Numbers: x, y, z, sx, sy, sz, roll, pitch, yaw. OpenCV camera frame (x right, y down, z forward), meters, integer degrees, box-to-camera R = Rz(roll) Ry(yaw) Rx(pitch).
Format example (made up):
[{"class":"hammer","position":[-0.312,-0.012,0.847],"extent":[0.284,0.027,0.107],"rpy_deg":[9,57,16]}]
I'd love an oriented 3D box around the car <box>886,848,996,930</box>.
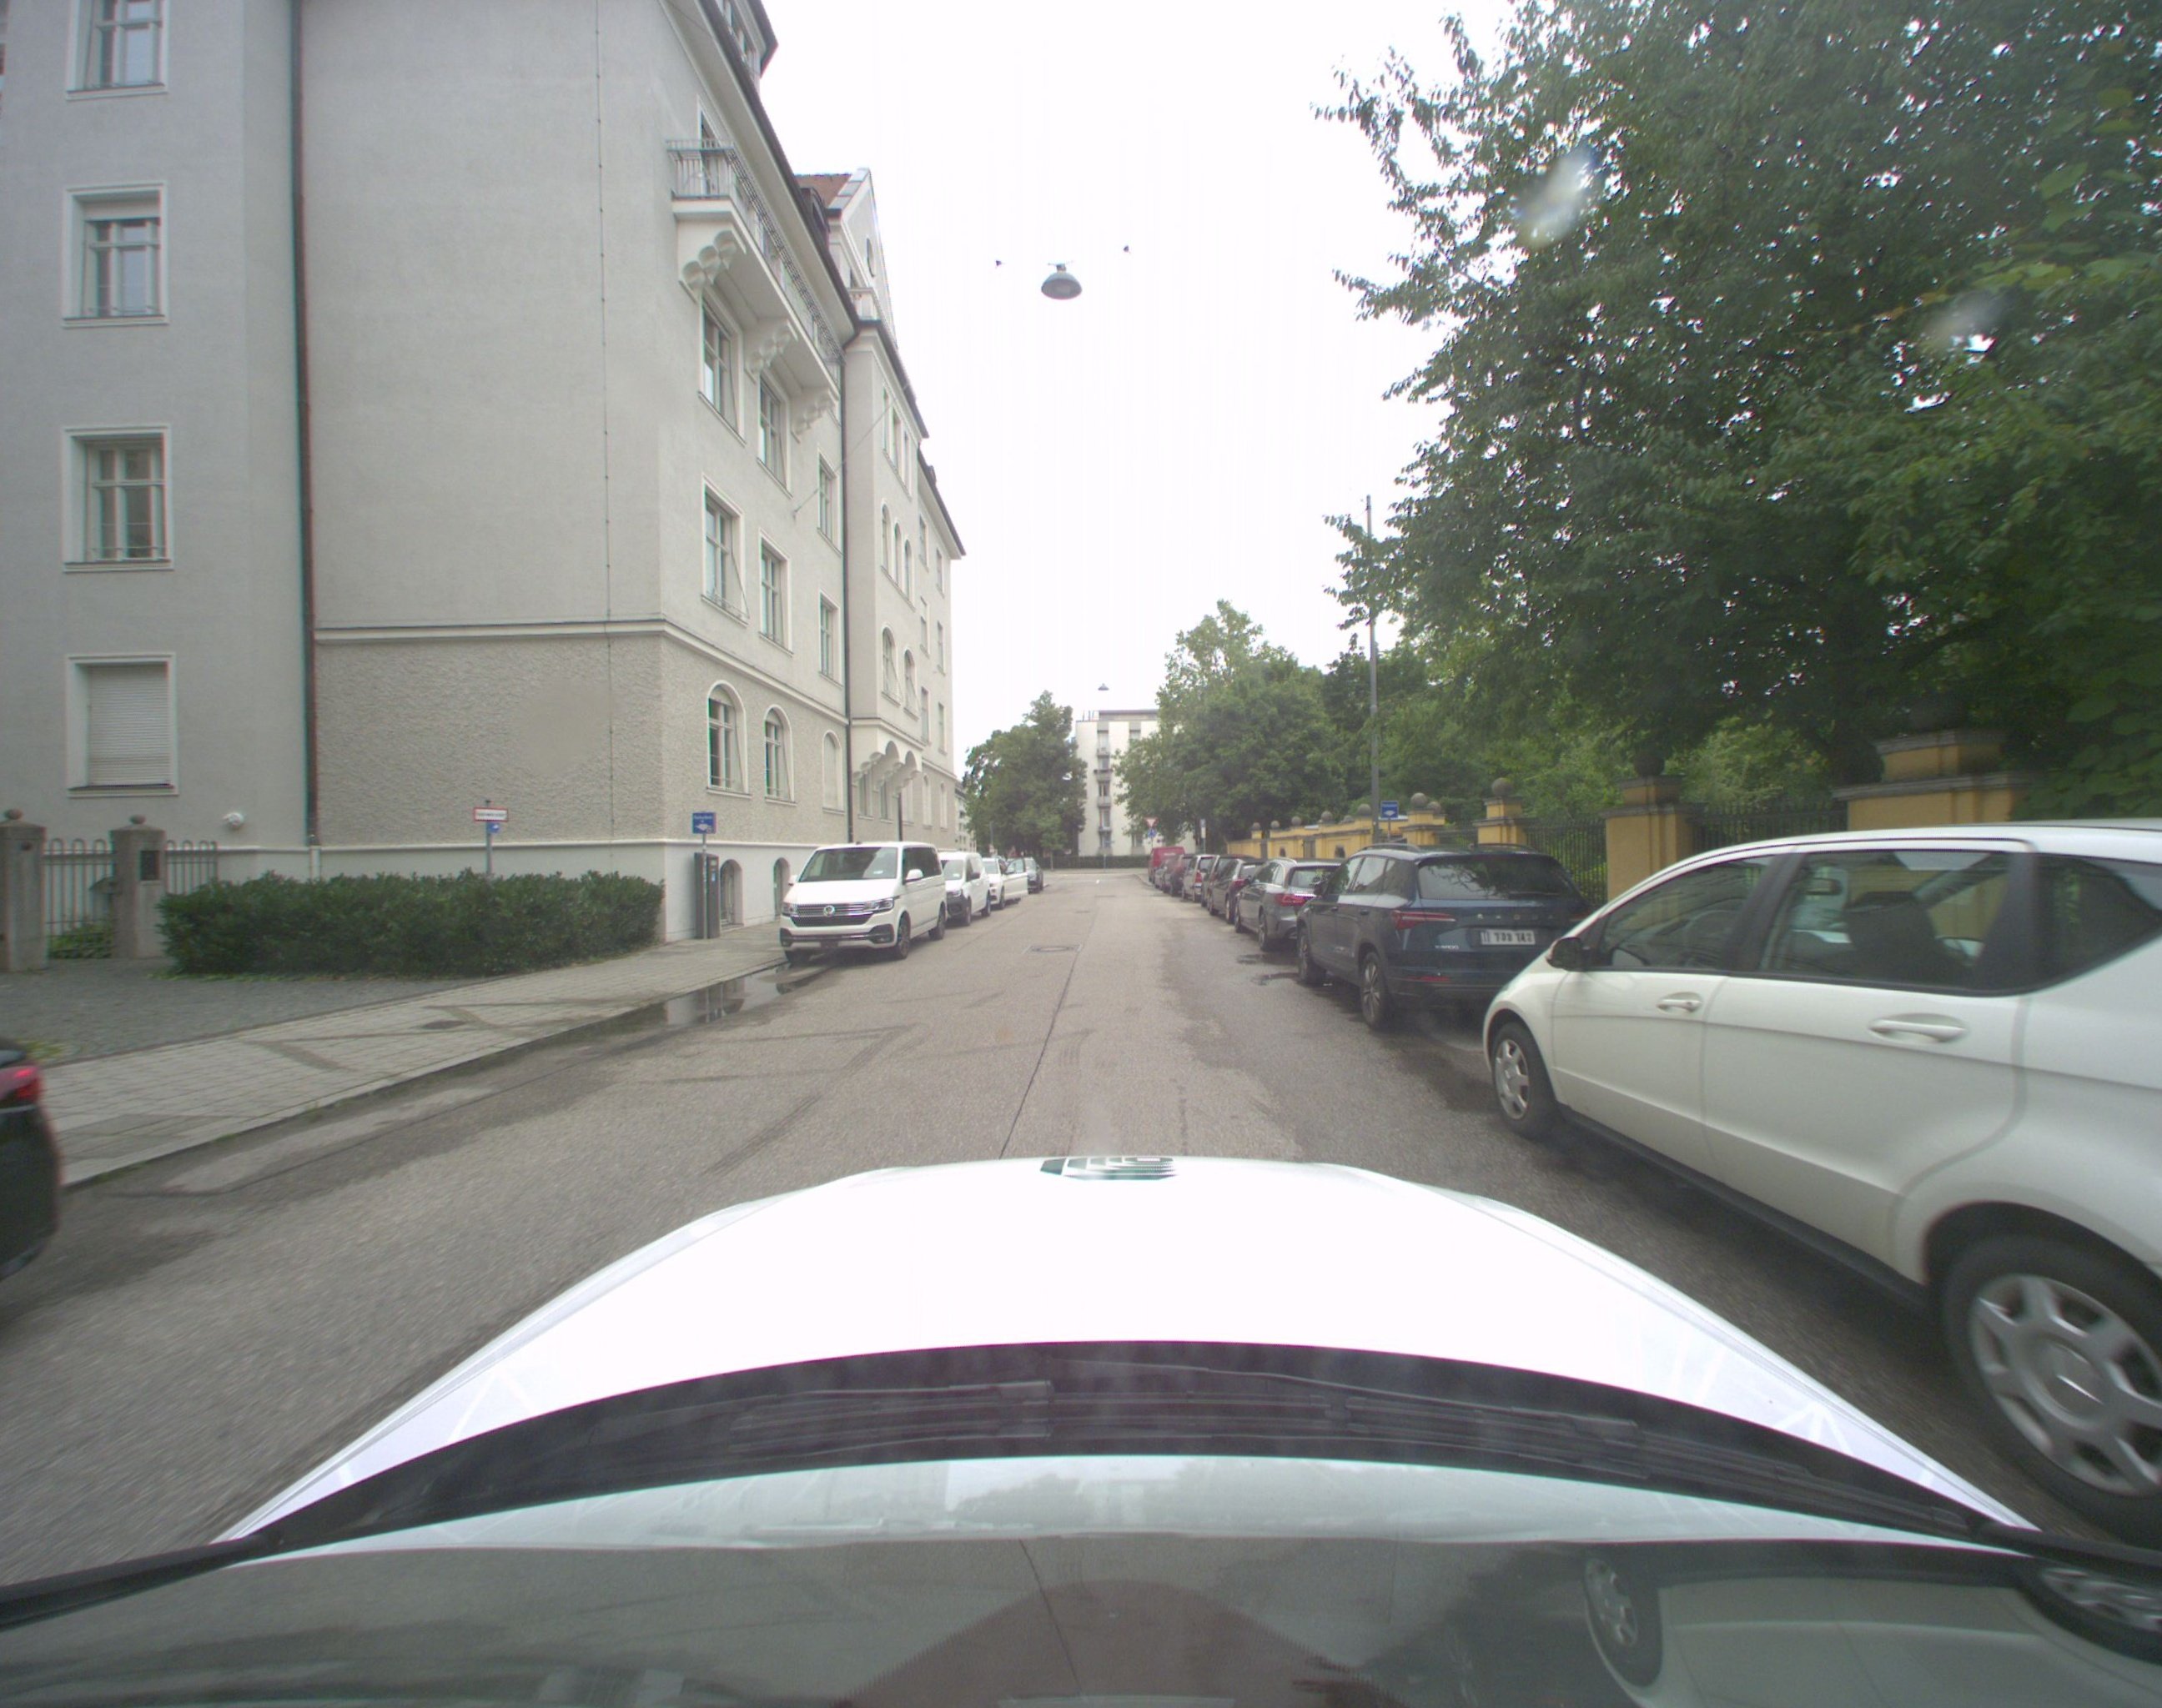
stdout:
[{"class":"car","position":[-3.445,0.795,20.982],"extent":[1.740,1.788,5.039],"rpy_deg":[-3,0,2]}]

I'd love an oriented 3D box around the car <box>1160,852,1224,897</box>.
[{"class":"car","position":[4.347,0.754,32.528],"extent":[1.878,1.653,4.823],"rpy_deg":[1,0,0]}]

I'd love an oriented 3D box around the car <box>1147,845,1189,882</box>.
[{"class":"car","position":[4.663,0.488,44.361],"extent":[1.867,1.920,4.888],"rpy_deg":[0,0,1]}]

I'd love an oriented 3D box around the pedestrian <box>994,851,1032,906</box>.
[{"class":"pedestrian","position":[-2.261,0.792,26.928],"extent":[0.967,1.756,0.868],"rpy_deg":[-1,0,-28]}]

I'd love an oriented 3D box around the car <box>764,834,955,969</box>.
[{"class":"car","position":[-3.696,0.710,14.631],"extent":[1.849,1.938,4.959],"rpy_deg":[-3,0,2]}]

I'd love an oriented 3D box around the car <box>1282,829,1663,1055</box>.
[{"class":"car","position":[3.366,0.634,8.159],"extent":[1.706,1.570,4.694],"rpy_deg":[-2,0,2]}]

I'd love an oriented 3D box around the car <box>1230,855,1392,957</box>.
[{"class":"car","position":[3.719,0.756,13.949],"extent":[1.685,1.414,4.519],"rpy_deg":[-2,0,3]}]

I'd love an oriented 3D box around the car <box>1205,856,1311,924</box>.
[{"class":"car","position":[4.026,0.765,19.168],"extent":[1.686,1.414,4.037],"rpy_deg":[1,0,1]}]

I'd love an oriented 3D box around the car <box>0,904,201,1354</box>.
[{"class":"car","position":[-4.495,0.937,1.030],"extent":[1.848,1.412,4.382],"rpy_deg":[-3,0,2]}]

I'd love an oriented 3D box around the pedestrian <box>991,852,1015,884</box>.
[{"class":"pedestrian","position":[-4.427,0.810,46.249],"extent":[1.055,1.771,0.868],"rpy_deg":[-1,-1,-31]}]

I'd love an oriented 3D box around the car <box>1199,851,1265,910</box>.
[{"class":"car","position":[4.237,0.707,23.212],"extent":[1.501,1.566,2.872],"rpy_deg":[1,0,3]}]

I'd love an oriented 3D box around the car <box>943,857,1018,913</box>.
[{"class":"car","position":[-3.186,0.922,26.599],"extent":[1.740,1.602,4.497],"rpy_deg":[-3,0,1]}]

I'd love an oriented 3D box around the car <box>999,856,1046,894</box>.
[{"class":"car","position":[-2.705,0.934,38.453],"extent":[1.740,1.602,4.497],"rpy_deg":[-3,0,1]}]

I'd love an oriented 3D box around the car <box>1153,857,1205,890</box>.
[{"class":"car","position":[4.581,0.863,38.624],"extent":[1.879,1.448,4.367],"rpy_deg":[1,0,-1]}]

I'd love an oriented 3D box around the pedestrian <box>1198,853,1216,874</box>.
[{"class":"pedestrian","position":[7.926,0.596,51.338],"extent":[1.005,1.338,0.878],"rpy_deg":[-1,0,5]}]

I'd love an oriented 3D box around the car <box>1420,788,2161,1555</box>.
[{"class":"car","position":[3.123,0.631,3.435],"extent":[1.706,1.570,4.322],"rpy_deg":[-2,0,2]}]

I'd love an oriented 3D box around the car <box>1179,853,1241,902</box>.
[{"class":"car","position":[4.314,0.734,27.644],"extent":[1.480,1.539,3.691],"rpy_deg":[1,0,-1]}]
